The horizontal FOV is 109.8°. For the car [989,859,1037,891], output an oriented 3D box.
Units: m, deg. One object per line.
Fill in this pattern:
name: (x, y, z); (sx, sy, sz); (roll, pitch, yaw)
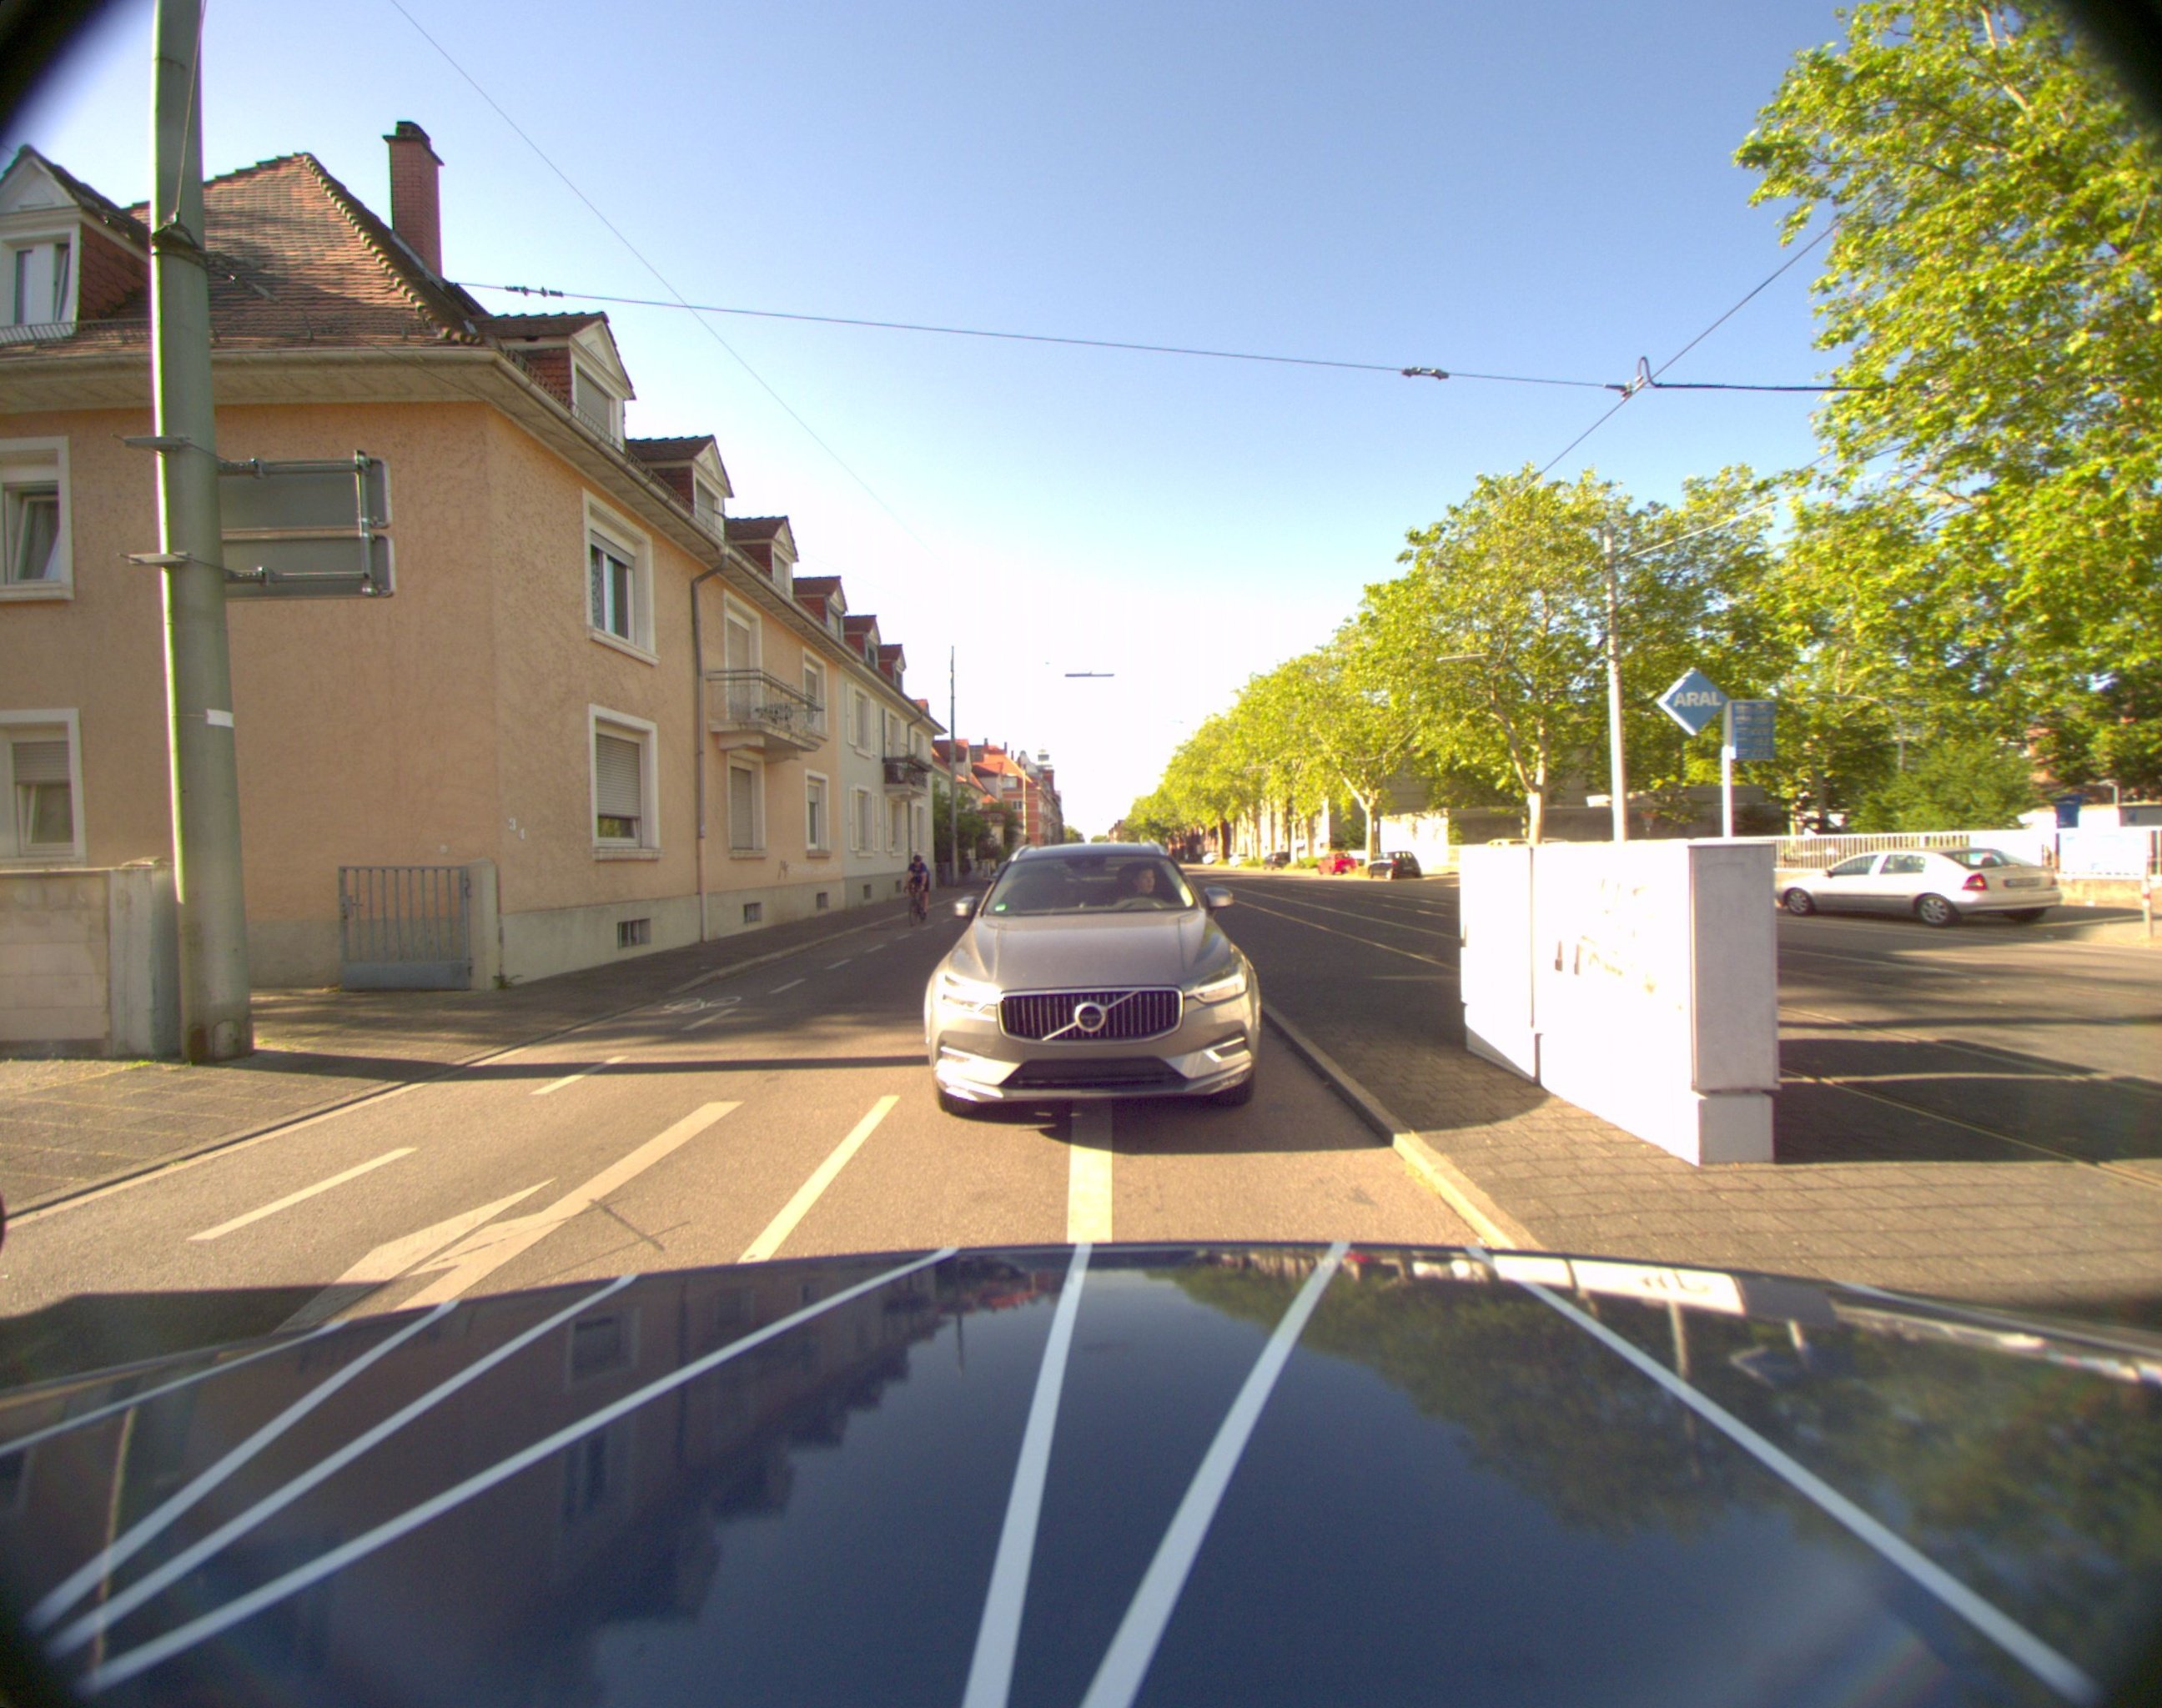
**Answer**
car: (-3.239, 0.966, 37.081); (1.867, 1.399, 4.424); (-1, 0, 1)

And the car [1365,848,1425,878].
car: (16.889, 0.460, 41.047); (1.758, 1.449, 3.858); (-3, 0, 3)

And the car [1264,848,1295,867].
car: (17.170, 0.296, 65.921); (1.758, 1.536, 3.858); (-3, 0, 3)

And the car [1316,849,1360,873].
car: (16.901, 0.453, 50.189); (1.717, 1.421, 3.858); (-3, 0, 3)

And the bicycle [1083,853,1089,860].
bicycle: (0.884, 0.411, 144.204); (1.054, 1.262, 3.914); (-1, 0, 1)

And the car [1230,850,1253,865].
car: (17.575, 0.357, 83.348); (1.758, 1.475, 3.858); (-3, 0, 3)

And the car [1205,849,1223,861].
car: (17.668, 0.166, 100.942); (1.758, 1.475, 3.858); (-3, 0, 3)

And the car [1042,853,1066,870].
car: (-2.356, 0.622, 66.366); (1.867, 1.399, 4.078); (-1, 0, 1)

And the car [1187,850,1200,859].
car: (18.504, 0.059, 125.299); (1.758, 1.475, 3.858); (-3, 0, 3)

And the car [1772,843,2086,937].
car: (16.236, 0.610, 14.913); (1.847, 1.477, 3.858); (-4, 0, 2)

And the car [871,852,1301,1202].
car: (0.054, 0.817, 5.936); (1.998, 1.609, 4.697); (-1, 0, 1)

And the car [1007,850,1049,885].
car: (-2.916, 0.703, 42.835); (1.867, 1.778, 5.297); (-1, 0, 1)

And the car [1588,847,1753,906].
car: (16.476, 0.571, 21.520); (1.745, 1.389, 3.858); (-4, 0, 3)

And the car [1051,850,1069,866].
car: (-2.328, 0.433, 85.455); (1.867, 1.653, 4.078); (-1, 0, 1)

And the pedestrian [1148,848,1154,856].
pedestrian: (19.589, -0.543, 213.142); (1.686, 2.002, 1.761); (-1, 1, 1)

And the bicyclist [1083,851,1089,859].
bicyclist: (0.898, 0.157, 144.256); (1.054, 1.496, 1.250); (-1, 1, 1)

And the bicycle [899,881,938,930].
bicycle: (-3.975, 1.248, 18.696); (0.550, 1.056, 1.794); (-1, 1, 0)

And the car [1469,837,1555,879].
car: (21.809, 0.171, 38.646); (1.999, 2.002, 3.999); (-1, 0, -1)

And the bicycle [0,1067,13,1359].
bicycle: (-4.047, 1.261, 1.791); (0.533, 1.011, 1.758); (-1, 0, 1)

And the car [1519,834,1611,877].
car: (24.157, 0.082, 38.106); (1.999, 2.002, 3.999); (-1, 0, -1)

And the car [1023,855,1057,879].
car: (-2.581, 0.815, 48.503); (1.867, 1.399, 4.078); (-1, 0, 1)

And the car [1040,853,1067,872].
car: (-2.135, 0.669, 60.062); (1.867, 1.399, 4.078); (-1, 0, 1)

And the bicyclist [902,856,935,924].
bicyclist: (-3.975, 0.872, 18.690); (0.562, 1.607, 1.016); (-1, 1, 0)
